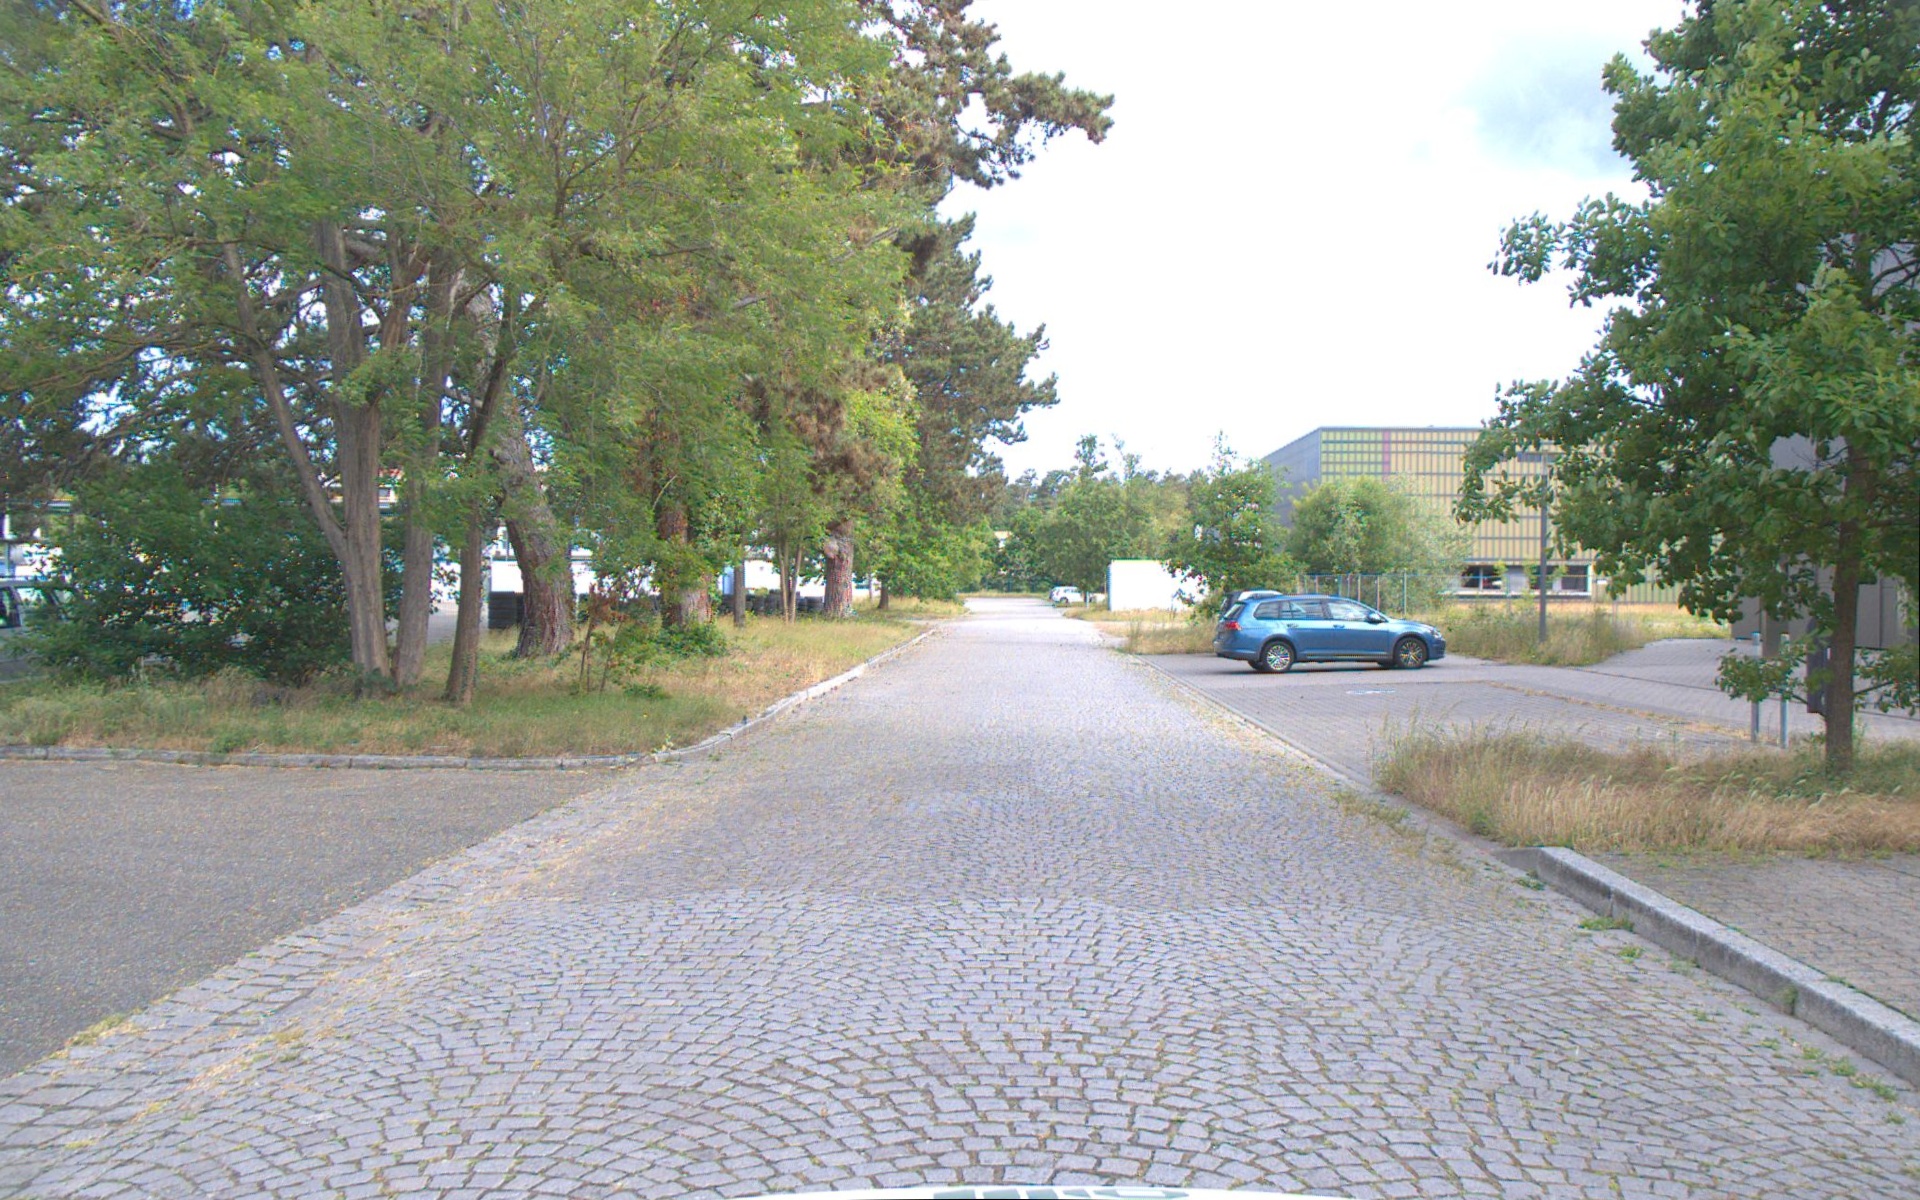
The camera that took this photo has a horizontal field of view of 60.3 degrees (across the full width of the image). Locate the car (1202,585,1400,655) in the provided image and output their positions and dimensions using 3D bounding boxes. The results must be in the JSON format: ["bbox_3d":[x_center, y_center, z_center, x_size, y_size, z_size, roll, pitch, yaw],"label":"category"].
[{"bbox_3d":[8.205,0.460,40.072,4.423,1.558,2.001,-1,0,2],"label":"car"}]

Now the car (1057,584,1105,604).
[{"bbox_3d":[10.747,-0.542,147.274,4.263,1.811,1.926,0,0,3],"label":"car"}]

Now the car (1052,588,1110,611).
[{"bbox_3d":[9.211,-0.012,126.310,4.265,1.717,1.925,0,0,1],"label":"car"}]

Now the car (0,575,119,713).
[{"bbox_3d":[-11.420,0.467,18.458,1.880,1.502,4.368,0,0,-1],"label":"car"}]

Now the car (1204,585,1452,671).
[{"bbox_3d":[7.220,0.521,32.752,4.426,1.558,1.999,-1,0,-2],"label":"car"}]
